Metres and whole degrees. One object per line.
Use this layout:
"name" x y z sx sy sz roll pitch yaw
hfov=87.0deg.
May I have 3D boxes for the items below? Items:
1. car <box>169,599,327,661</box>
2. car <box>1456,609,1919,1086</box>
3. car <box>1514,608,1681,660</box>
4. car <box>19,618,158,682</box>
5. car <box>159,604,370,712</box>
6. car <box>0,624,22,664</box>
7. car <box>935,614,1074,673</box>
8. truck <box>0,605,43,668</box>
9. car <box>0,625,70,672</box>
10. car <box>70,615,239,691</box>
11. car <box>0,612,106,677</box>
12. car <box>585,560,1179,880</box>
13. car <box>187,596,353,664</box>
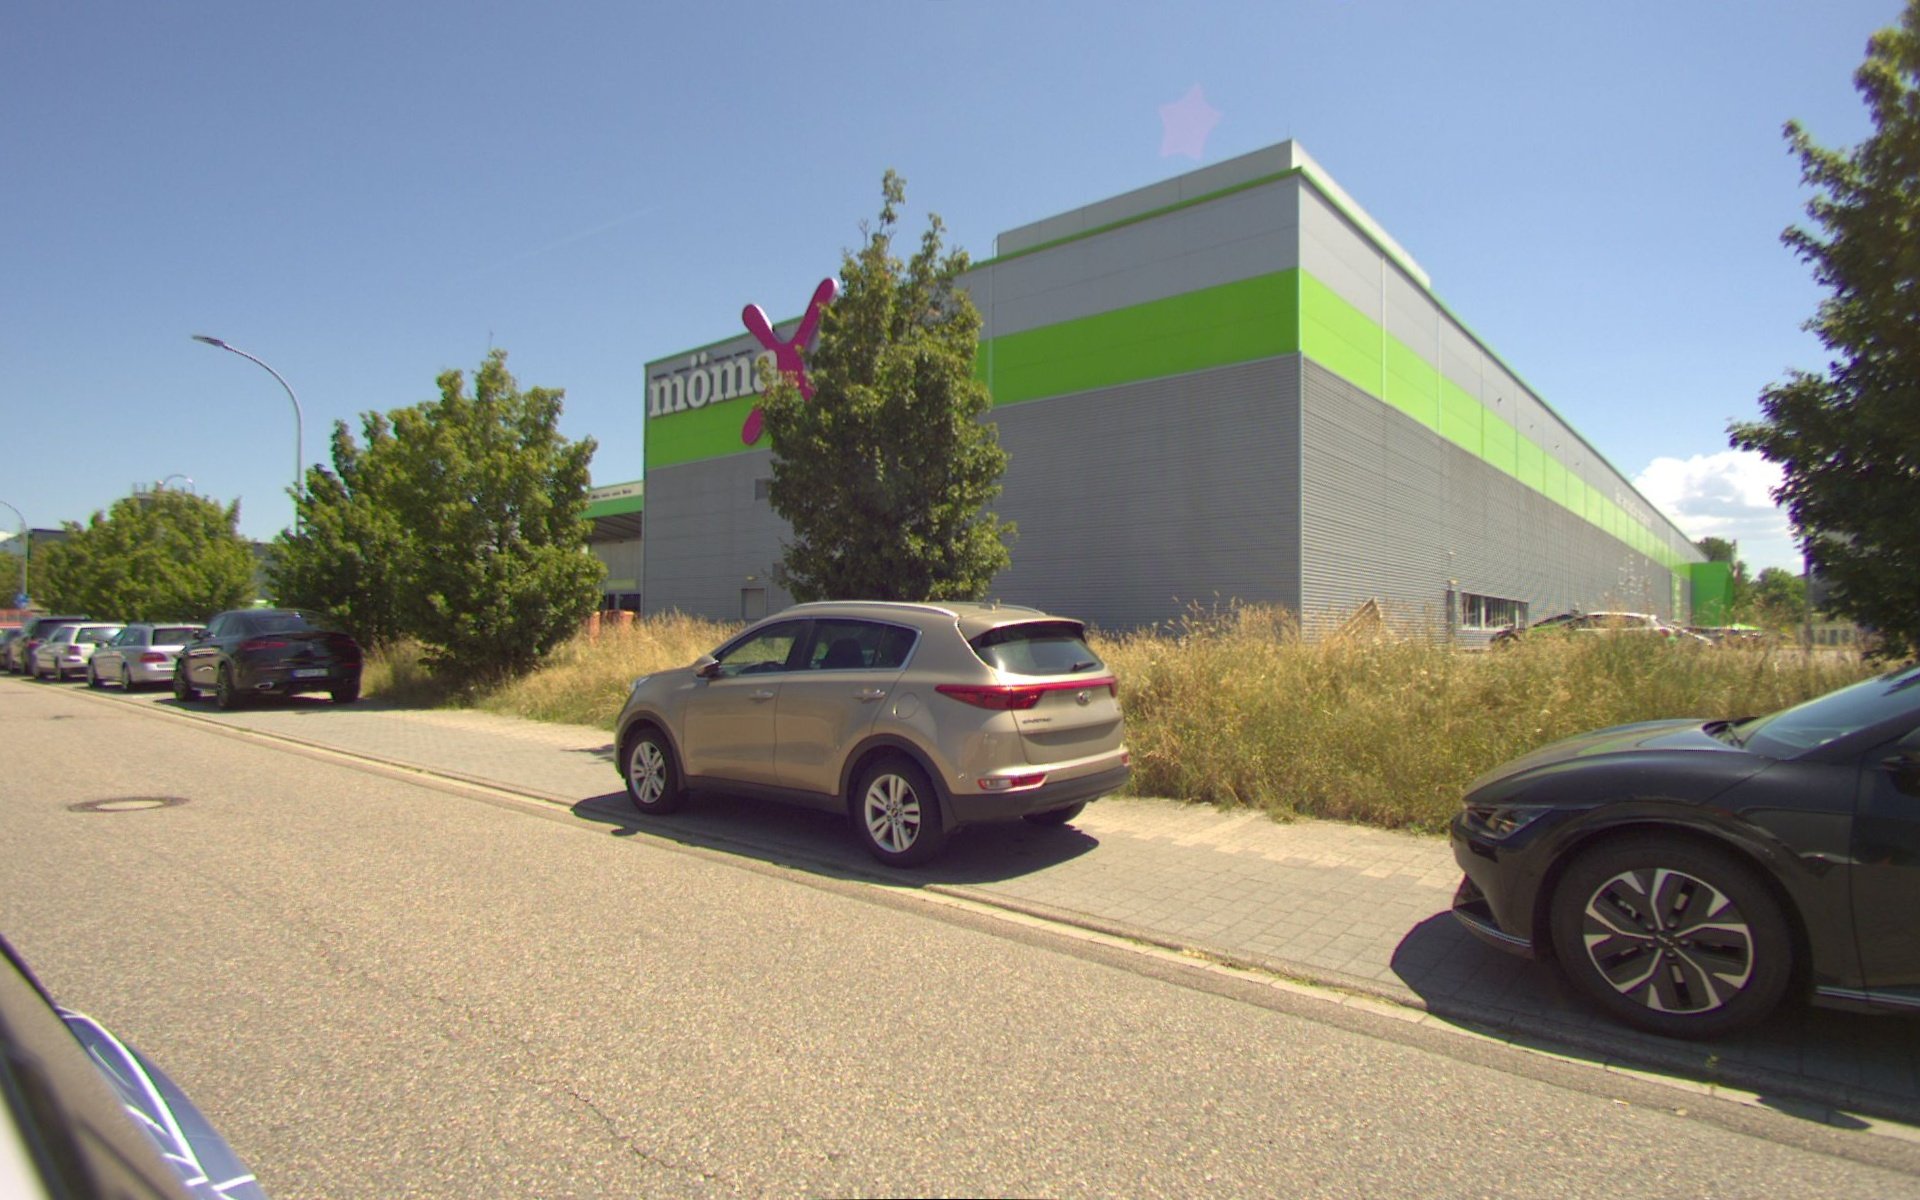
"car" -34.981 1.471 49.899 2.518 2.846 5.914 -2 -2 39
"car" 4.297 0.772 3.435 4.406 1.503 1.895 -2 -1 37
"car" 18.900 1.003 30.068 3.995 1.423 1.974 -2 -2 39
"car" -23.039 1.265 26.693 4.897 1.530 1.834 -2 -1 38
"car" -12.823 0.986 18.533 5.003 1.726 1.971 -2 -1 40
"car" -39.280 1.767 40.634 3.762 1.562 1.834 -2 -1 38
"car" 1.069 1.061 25.085 3.236 1.362 1.416 -2 -1 40
"truck" -35.862 1.352 37.755 4.641 2.239 1.833 -2 -1 40
"car" -31.780 1.615 34.260 4.750 1.454 1.832 -2 -1 40
"car" -18.284 1.140 22.886 5.159 1.530 1.834 -2 -1 38
"car" -27.220 1.287 30.282 4.984 1.772 1.832 -2 -1 41
"car" -0.794 0.702 7.632 4.409 1.726 1.893 -2 -1 40
"car" -31.990 1.400 47.089 2.518 2.948 5.914 -2 -2 39
